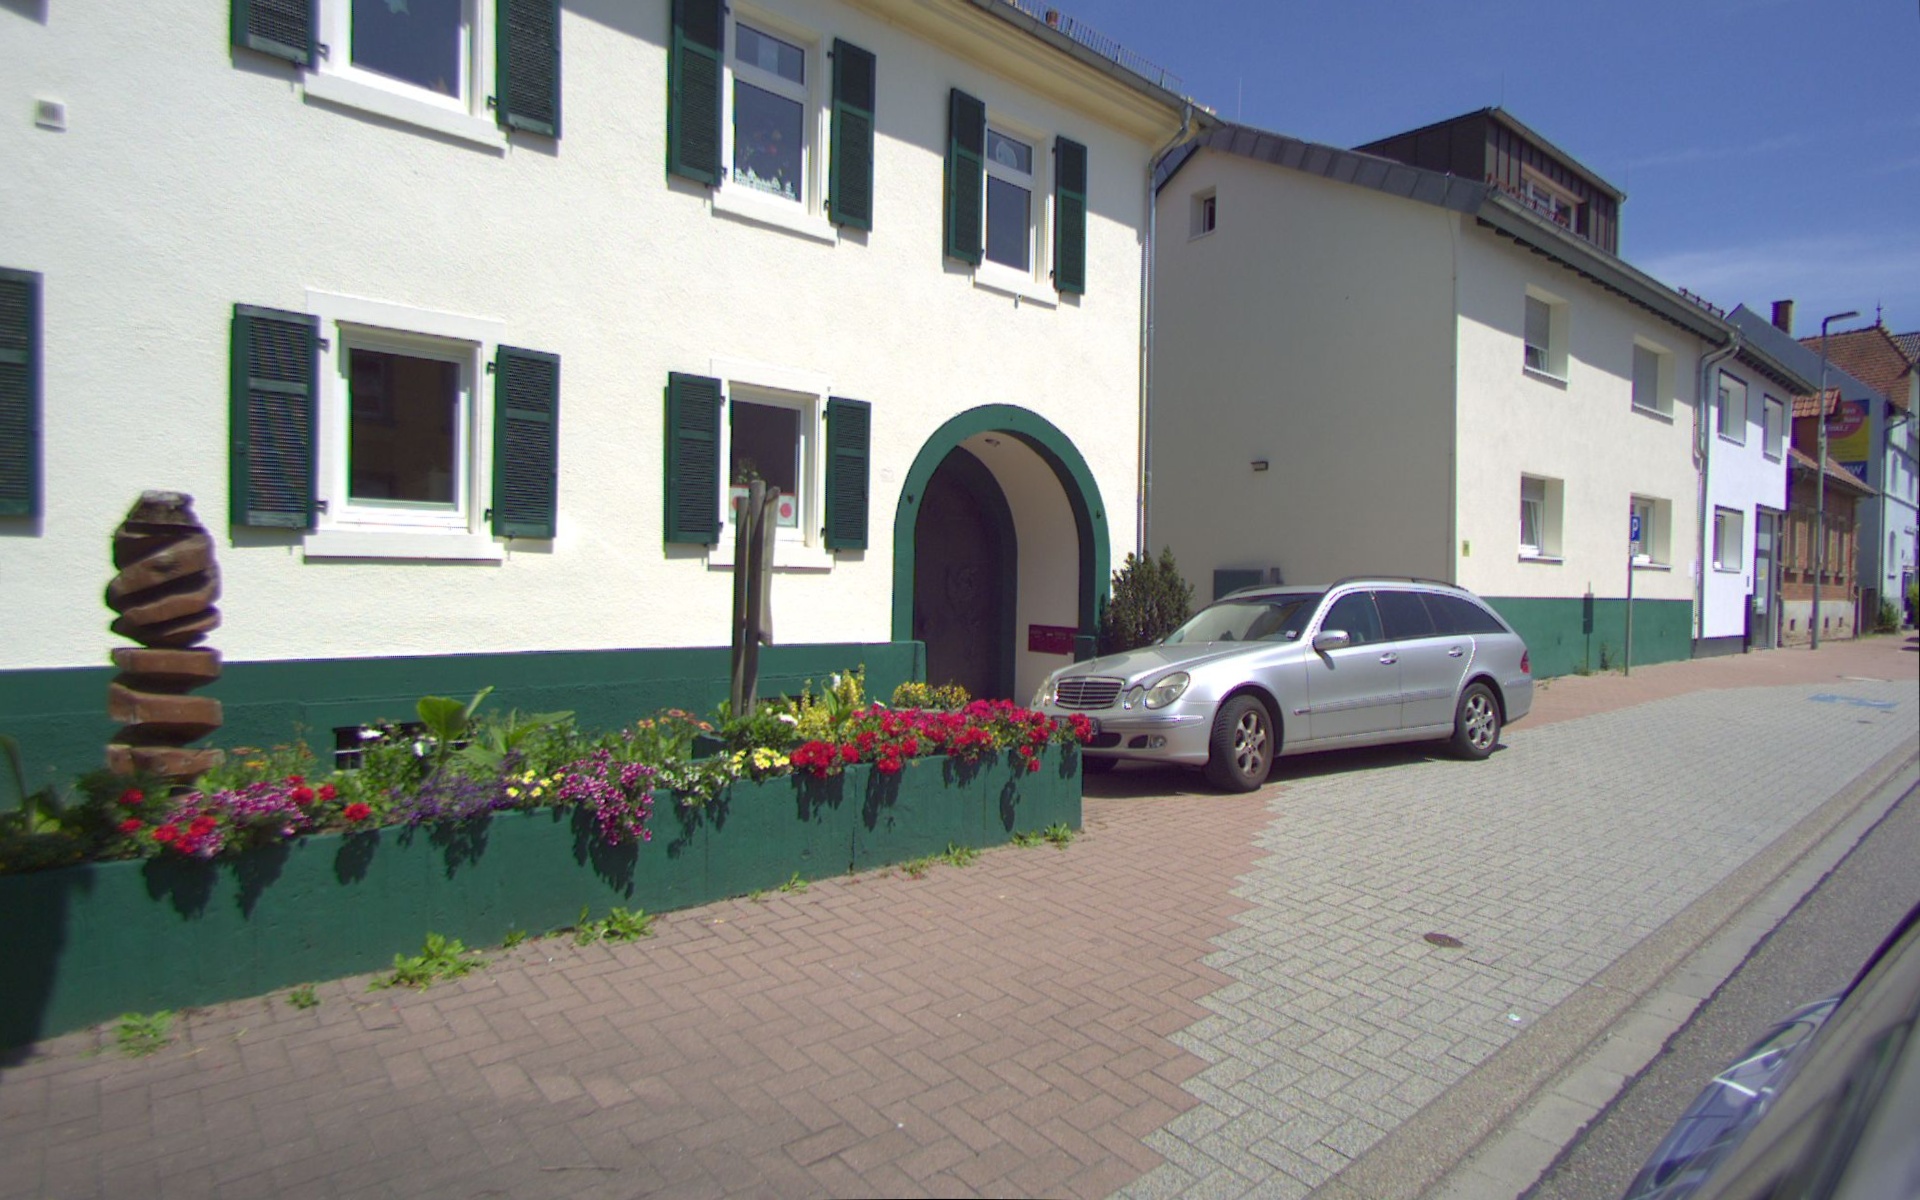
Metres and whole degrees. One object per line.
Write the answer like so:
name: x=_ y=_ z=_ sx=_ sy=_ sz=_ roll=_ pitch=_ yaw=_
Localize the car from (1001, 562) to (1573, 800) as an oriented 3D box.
car: x=2.845 y=0.522 z=8.375 sx=4.789 sy=1.482 sz=1.821 roll=-1 pitch=-3 yaw=-33
